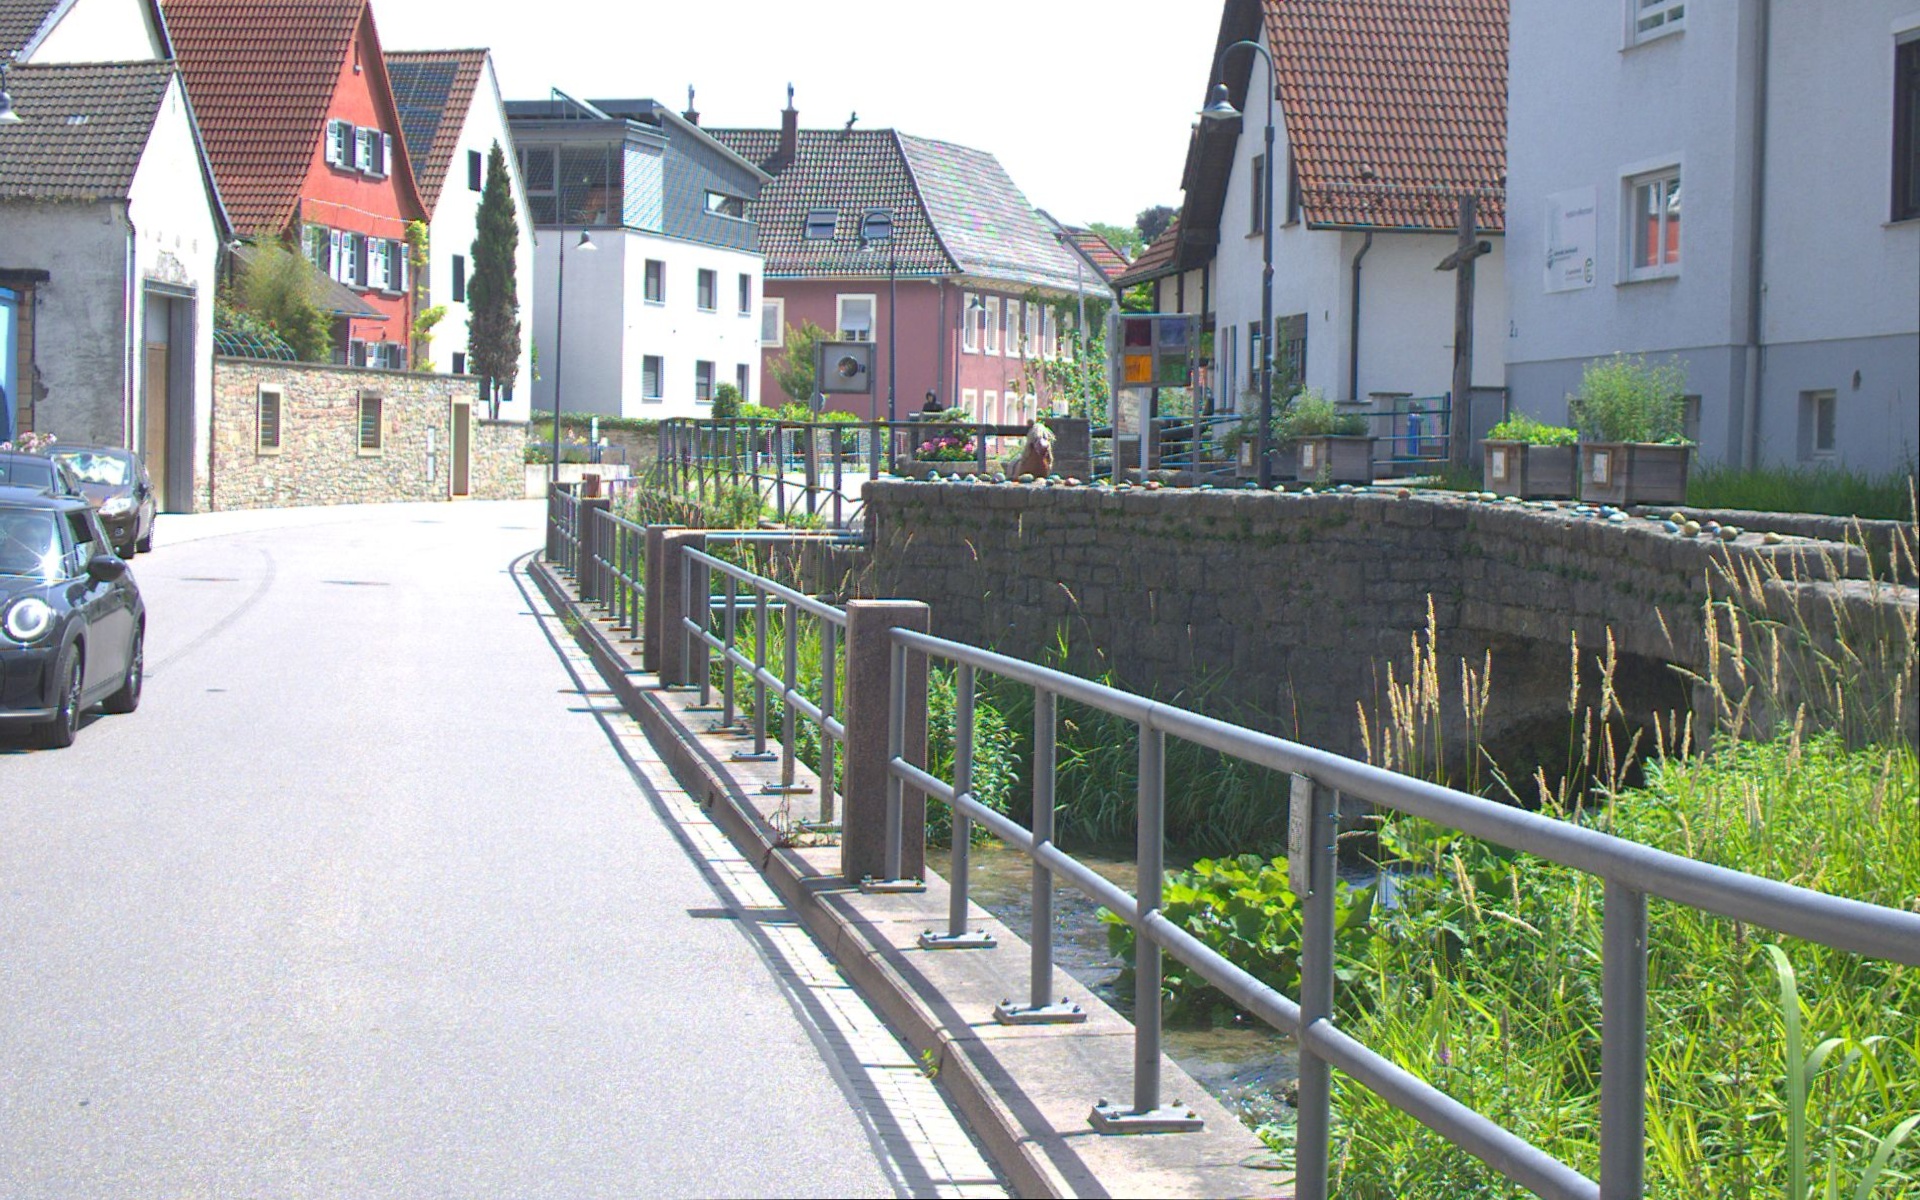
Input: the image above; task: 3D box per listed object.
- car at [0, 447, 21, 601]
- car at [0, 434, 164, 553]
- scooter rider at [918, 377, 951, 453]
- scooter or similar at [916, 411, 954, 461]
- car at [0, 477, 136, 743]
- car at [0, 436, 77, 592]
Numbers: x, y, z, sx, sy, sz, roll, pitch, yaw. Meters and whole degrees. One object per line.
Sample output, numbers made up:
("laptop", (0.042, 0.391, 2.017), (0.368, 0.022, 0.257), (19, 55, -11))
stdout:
("car", (-9.974, -0.725, 31.922), (1.956, 1.460, 4.547), (2, 2, -10))
("car", (-12.037, -1.490, 47.136), (1.717, 1.524, 3.858), (0, 3, -6))
("scooter rider", (-0.585, -4.279, 79.426), (0.641, 1.725, 0.554), (2, 2, -8))
("scooter or similar", (-0.573, -3.791, 79.412), (0.641, 1.138, 1.812), (0, 2, -8))
("car", (-6.079, -0.025, 21.038), (1.698, 1.460, 4.437), (1, 2, -10))
("car", (-10.778, -1.013, 36.873), (1.884, 1.459, 4.670), (4, 3, -8))
